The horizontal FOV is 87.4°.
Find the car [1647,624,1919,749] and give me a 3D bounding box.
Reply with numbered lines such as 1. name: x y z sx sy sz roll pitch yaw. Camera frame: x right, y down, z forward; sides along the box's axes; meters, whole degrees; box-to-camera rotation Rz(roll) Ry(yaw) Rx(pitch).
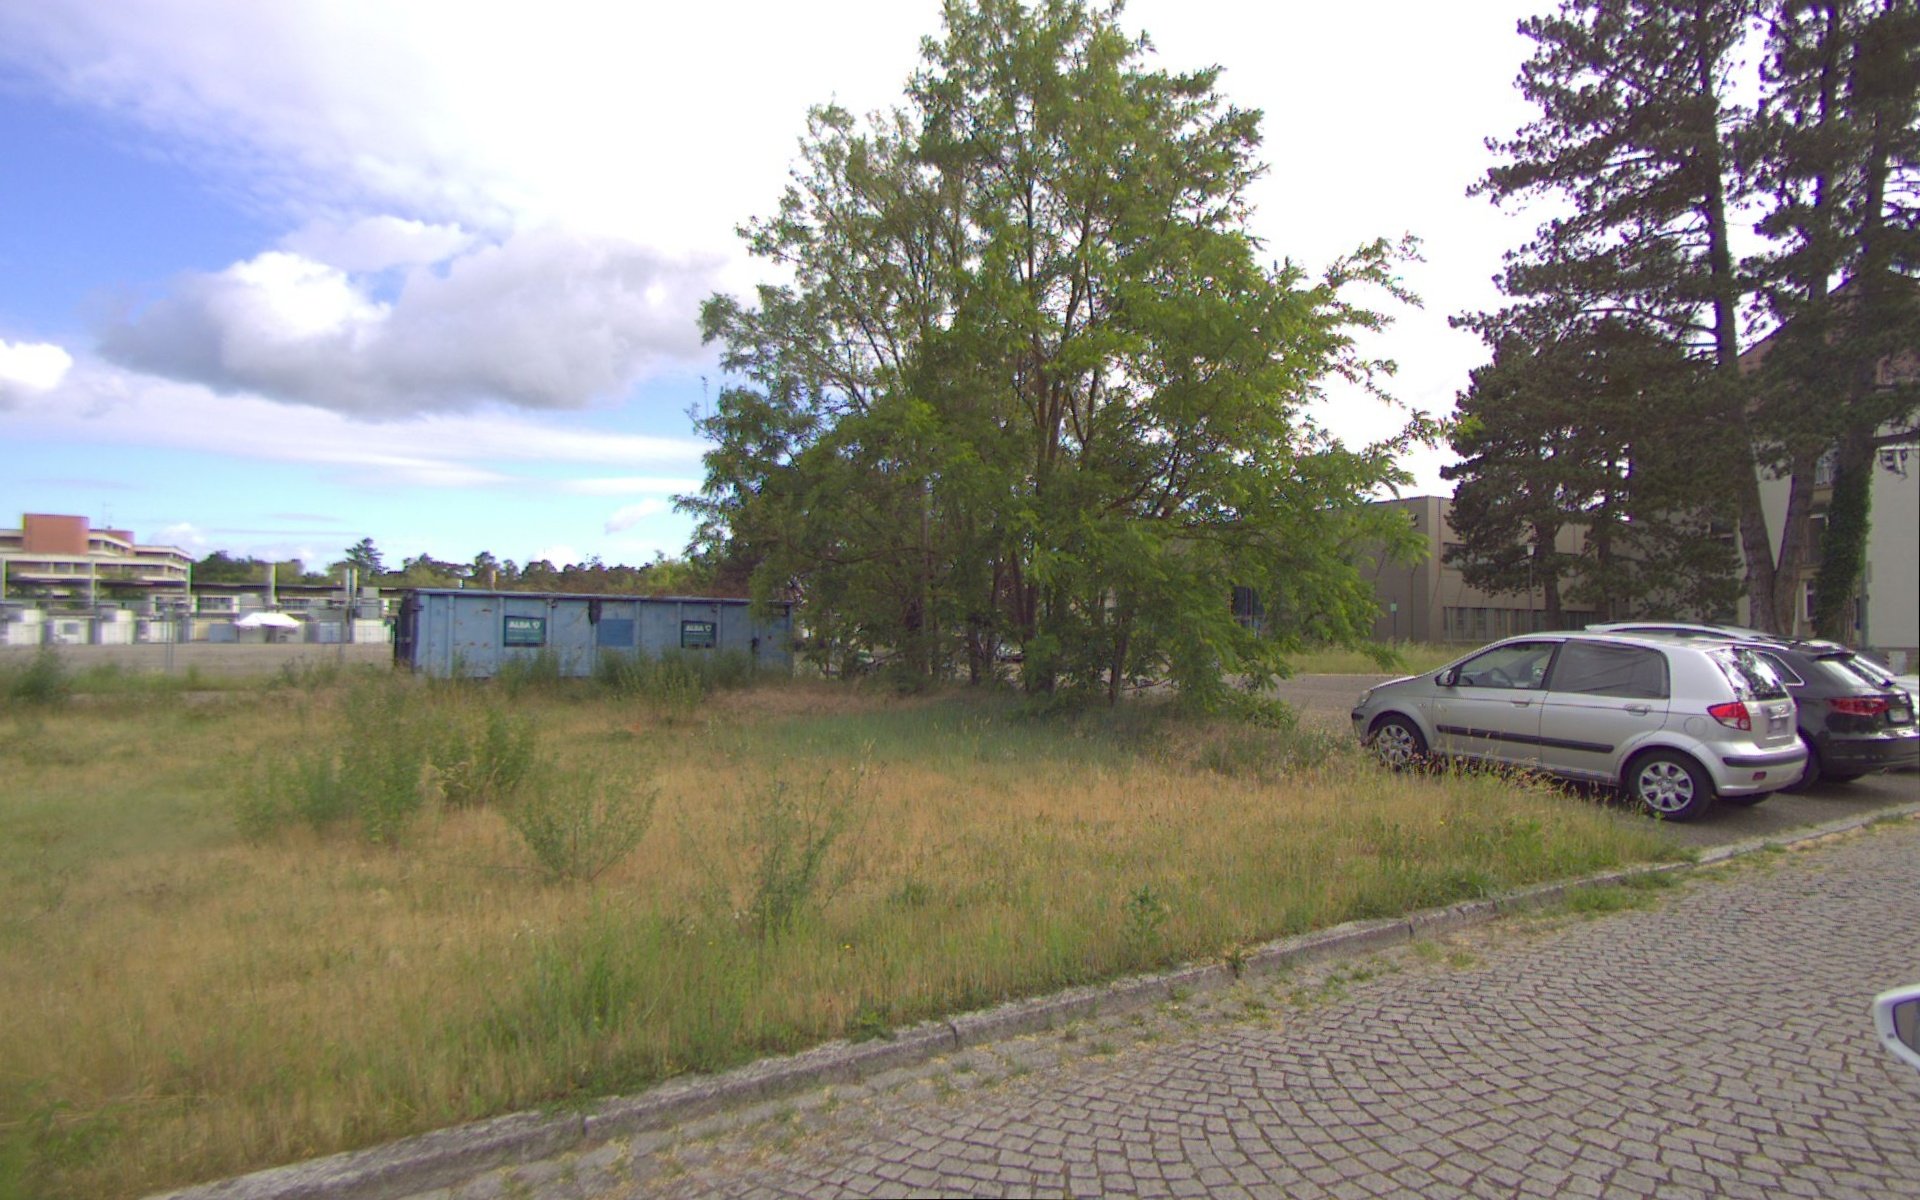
1. car: 12.199 1.145 14.052 1.631 1.440 3.927 1 1 -31

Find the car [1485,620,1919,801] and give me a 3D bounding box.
1. car: 7.960 1.023 10.880 1.566 1.448 3.723 1 1 -33

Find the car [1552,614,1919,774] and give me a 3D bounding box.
1. car: 10.022 1.055 12.812 1.633 1.584 3.923 1 1 -33

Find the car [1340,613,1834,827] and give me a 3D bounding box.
1. car: 5.727 0.952 9.615 1.566 1.499 3.680 1 1 -33
